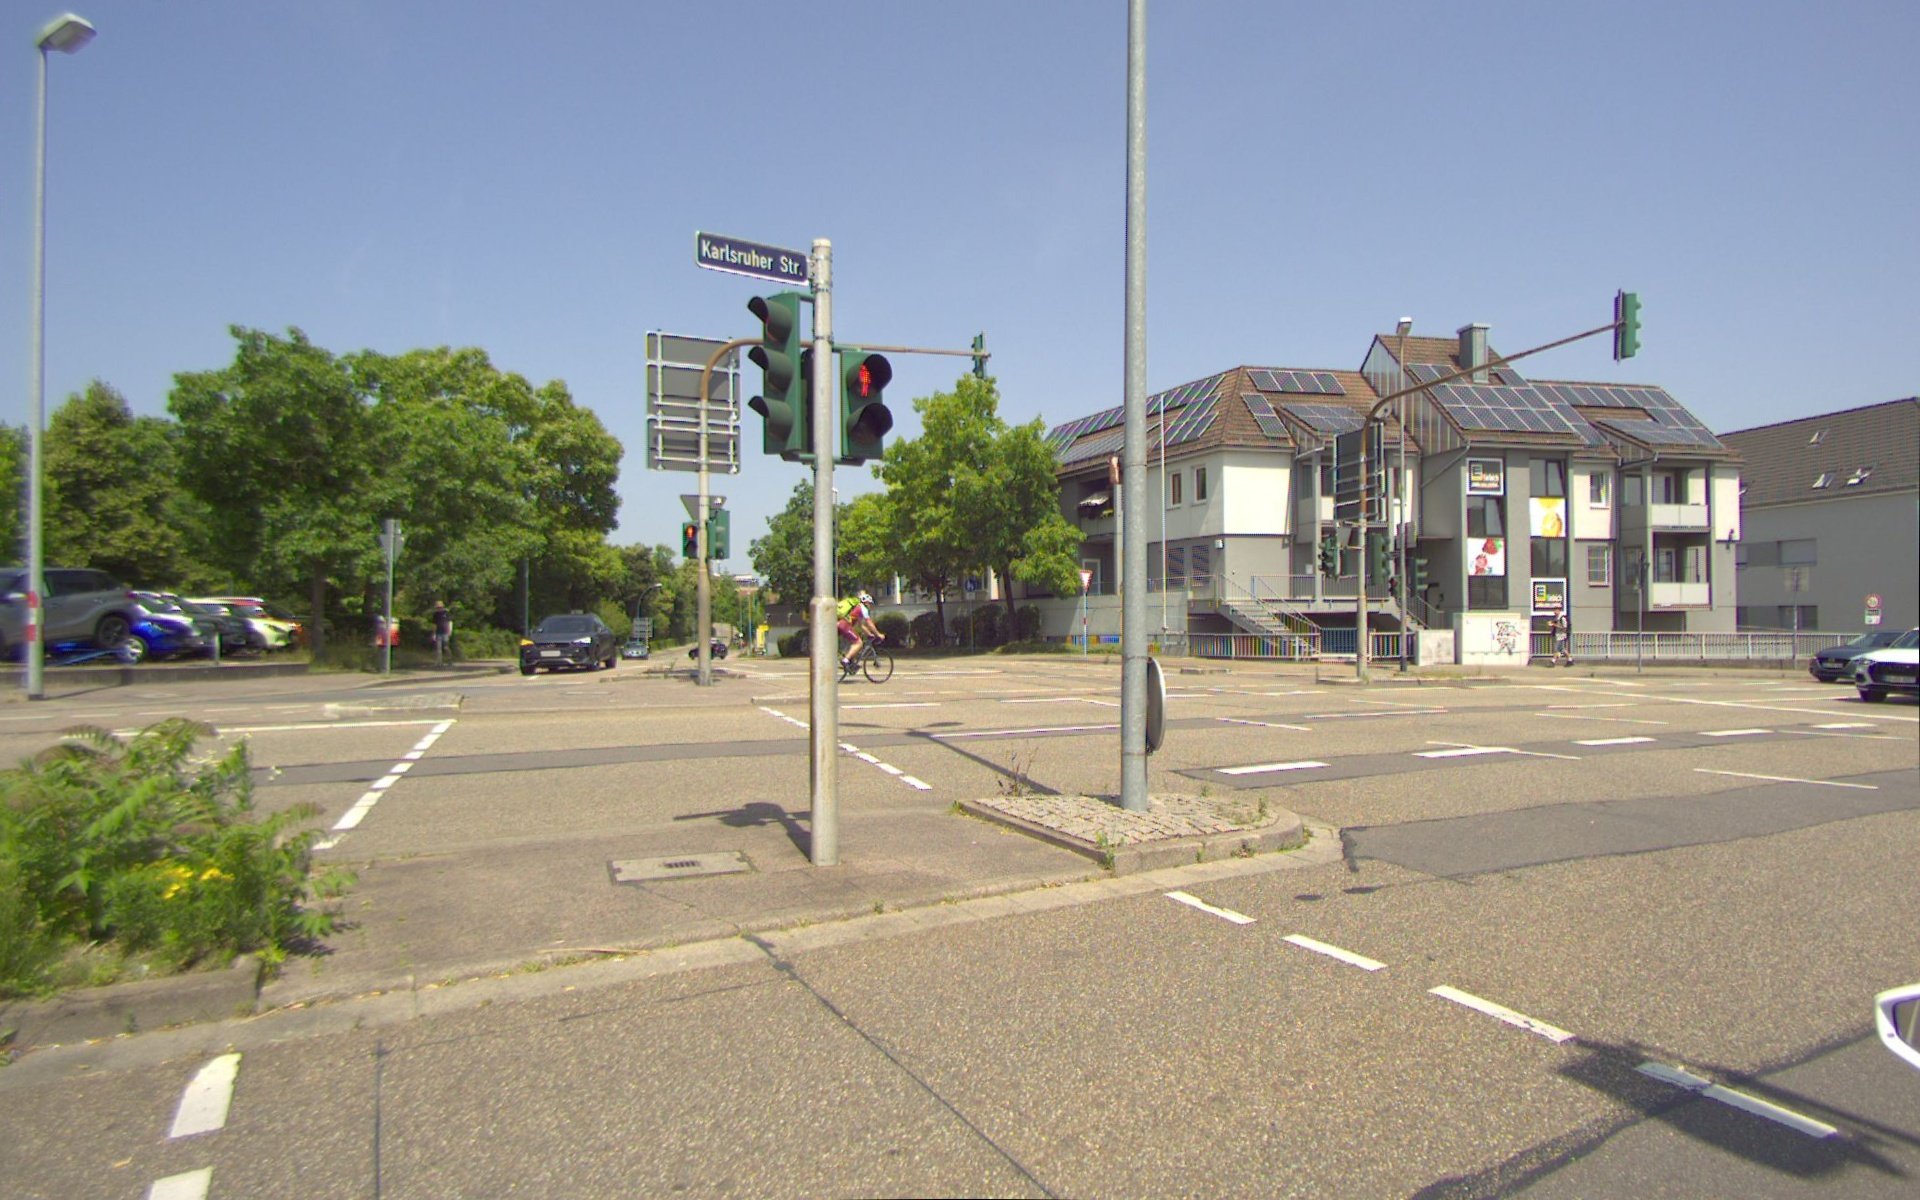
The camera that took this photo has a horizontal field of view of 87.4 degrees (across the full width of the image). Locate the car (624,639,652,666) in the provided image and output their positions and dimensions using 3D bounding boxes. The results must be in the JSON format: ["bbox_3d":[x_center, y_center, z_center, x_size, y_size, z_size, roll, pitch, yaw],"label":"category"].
[{"bbox_3d":[-23.391,3.795,73.092,1.733,1.631,4.747,2,0,-16],"label":"car"}]

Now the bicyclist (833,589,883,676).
[{"bbox_3d":[-2.015,0.643,19.837,0.813,1.664,0.418,3,-1,-35],"label":"bicyclist"}]

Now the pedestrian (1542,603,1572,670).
[{"bbox_3d":[18.528,1.131,31.168,0.734,2.041,0.500,0,1,-29],"label":"pedestrian"}]

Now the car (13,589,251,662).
[{"bbox_3d":[-19.024,0.604,23.333,3.953,1.557,1.781,2,0,-30],"label":"car"}]

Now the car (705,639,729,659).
[{"bbox_3d":[-24.711,4.933,102.123,1.969,1.927,3.983,1,-1,-20],"label":"car"}]

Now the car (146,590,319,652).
[{"bbox_3d":[-21.524,0.638,29.934,3.953,1.706,1.854,2,0,-30],"label":"car"}]

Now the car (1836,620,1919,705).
[{"bbox_3d":[20.195,1.253,20.443,4.491,1.591,1.812,1,0,-23],"label":"car"}]

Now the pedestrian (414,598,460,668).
[{"bbox_3d":[-14.659,0.921,28.174,0.973,1.896,0.807,2,0,-39],"label":"pedestrian"}]

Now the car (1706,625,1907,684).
[{"bbox_3d":[22.090,1.401,26.277,4.189,1.469,1.495,0,0,-4],"label":"car"}]

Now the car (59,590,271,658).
[{"bbox_3d":[-19.976,0.652,25.489,3.955,1.591,1.826,2,-2,-31],"label":"car"}]

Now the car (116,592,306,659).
[{"bbox_3d":[-20.543,0.714,27.785,3.953,1.730,1.892,2,0,-30],"label":"car"}]

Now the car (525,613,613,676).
[{"bbox_3d":[-10.315,1.163,26.373,1.975,1.505,4.418,0,-2,-23],"label":"car"}]

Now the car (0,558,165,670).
[{"bbox_3d":[-17.292,0.258,18.315,1.792,1.926,4.313,2,-2,6],"label":"car"}]

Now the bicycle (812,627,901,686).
[{"bbox_3d":[-2.033,1.102,19.833,1.771,1.068,0.417,-1,1,-35],"label":"bicycle"}]

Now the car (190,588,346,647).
[{"bbox_3d":[-22.215,0.577,32.464,3.953,1.773,1.984,2,0,-30],"label":"car"}]
